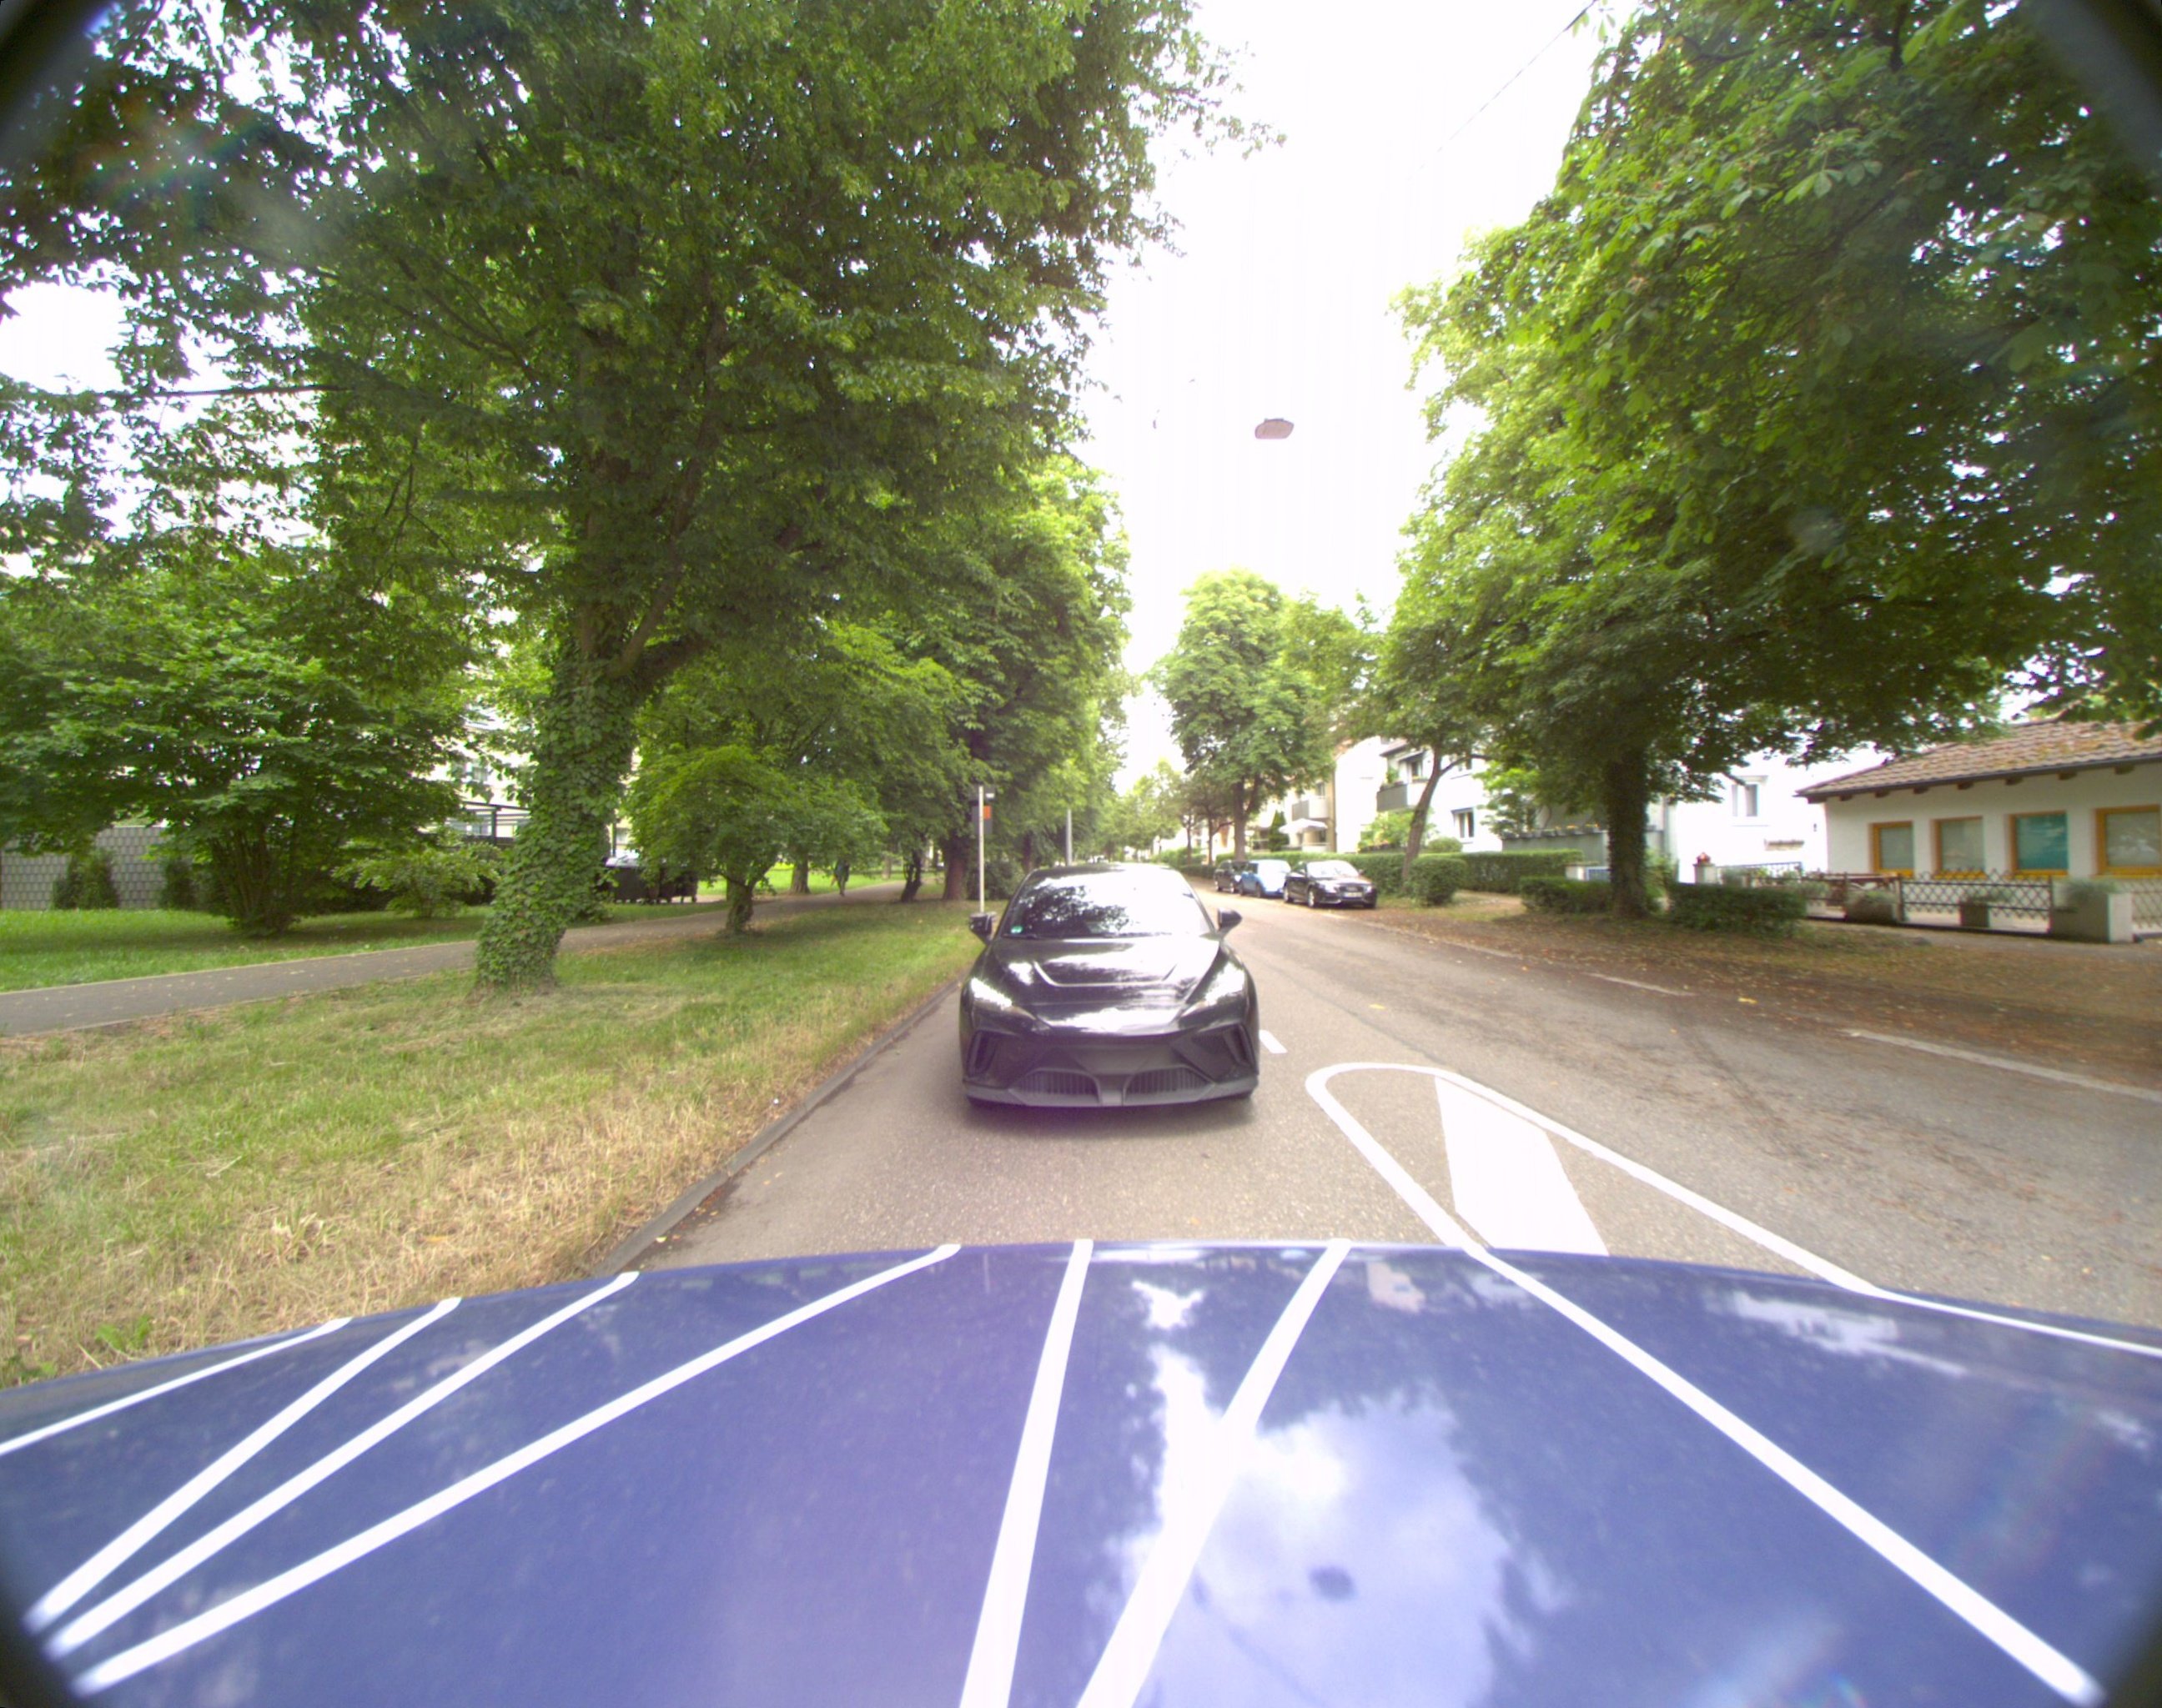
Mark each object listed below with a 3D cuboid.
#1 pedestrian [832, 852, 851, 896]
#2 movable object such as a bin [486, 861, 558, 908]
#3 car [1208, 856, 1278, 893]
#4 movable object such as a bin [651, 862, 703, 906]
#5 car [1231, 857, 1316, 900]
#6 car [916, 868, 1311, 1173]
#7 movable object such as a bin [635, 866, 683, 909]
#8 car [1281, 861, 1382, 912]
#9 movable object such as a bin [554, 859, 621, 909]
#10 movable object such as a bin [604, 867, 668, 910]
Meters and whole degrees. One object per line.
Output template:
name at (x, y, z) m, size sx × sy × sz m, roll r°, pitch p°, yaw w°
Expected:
pedestrian at (-9.551, 0.774, 30.334) m, size 0.565 × 1.730 × 0.570 m, roll 1°, pitch 0°, yaw 0°
movable object such as a bin at (-16.516, 0.887, 22.490) m, size 1.194 × 1.334 × 1.348 m, roll 0°, pitch 0°, yaw -8°
car at (7.073, 0.875, 33.659) m, size 1.889 × 1.524 × 4.565 m, roll 0°, pitch 0°, yaw -3°
movable object such as a bin at (-13.246, 0.978, 24.978) m, size 1.194 × 1.405 × 1.110 m, roll 0°, pitch 0°, yaw -8°
car at (7.204, 0.873, 28.906) m, size 1.889 × 1.492 × 4.565 m, roll 0°, pitch 0°, yaw -3°
car at (0.187, 0.891, 6.167) m, size 1.998 × 1.491 × 4.615 m, roll 0°, pitch 0°, yaw 1°
movable object such as a bin at (-13.243, 1.038, 23.884) m, size 1.026 × 1.296 × 0.960 m, roll 0°, pitch 0°, yaw -8°
car at (7.403, 0.909, 22.884) m, size 1.735 × 1.394 × 4.172 m, roll 0°, pitch 0°, yaw 1°
movable object such as a bin at (-14.575, 0.863, 22.493) m, size 1.194 × 1.448 × 1.348 m, roll 0°, pitch 0°, yaw -8°
movable object such as a bin at (-13.258, 1.019, 22.685) m, size 1.194 × 1.213 × 1.348 m, roll 0°, pitch 0°, yaw -8°
